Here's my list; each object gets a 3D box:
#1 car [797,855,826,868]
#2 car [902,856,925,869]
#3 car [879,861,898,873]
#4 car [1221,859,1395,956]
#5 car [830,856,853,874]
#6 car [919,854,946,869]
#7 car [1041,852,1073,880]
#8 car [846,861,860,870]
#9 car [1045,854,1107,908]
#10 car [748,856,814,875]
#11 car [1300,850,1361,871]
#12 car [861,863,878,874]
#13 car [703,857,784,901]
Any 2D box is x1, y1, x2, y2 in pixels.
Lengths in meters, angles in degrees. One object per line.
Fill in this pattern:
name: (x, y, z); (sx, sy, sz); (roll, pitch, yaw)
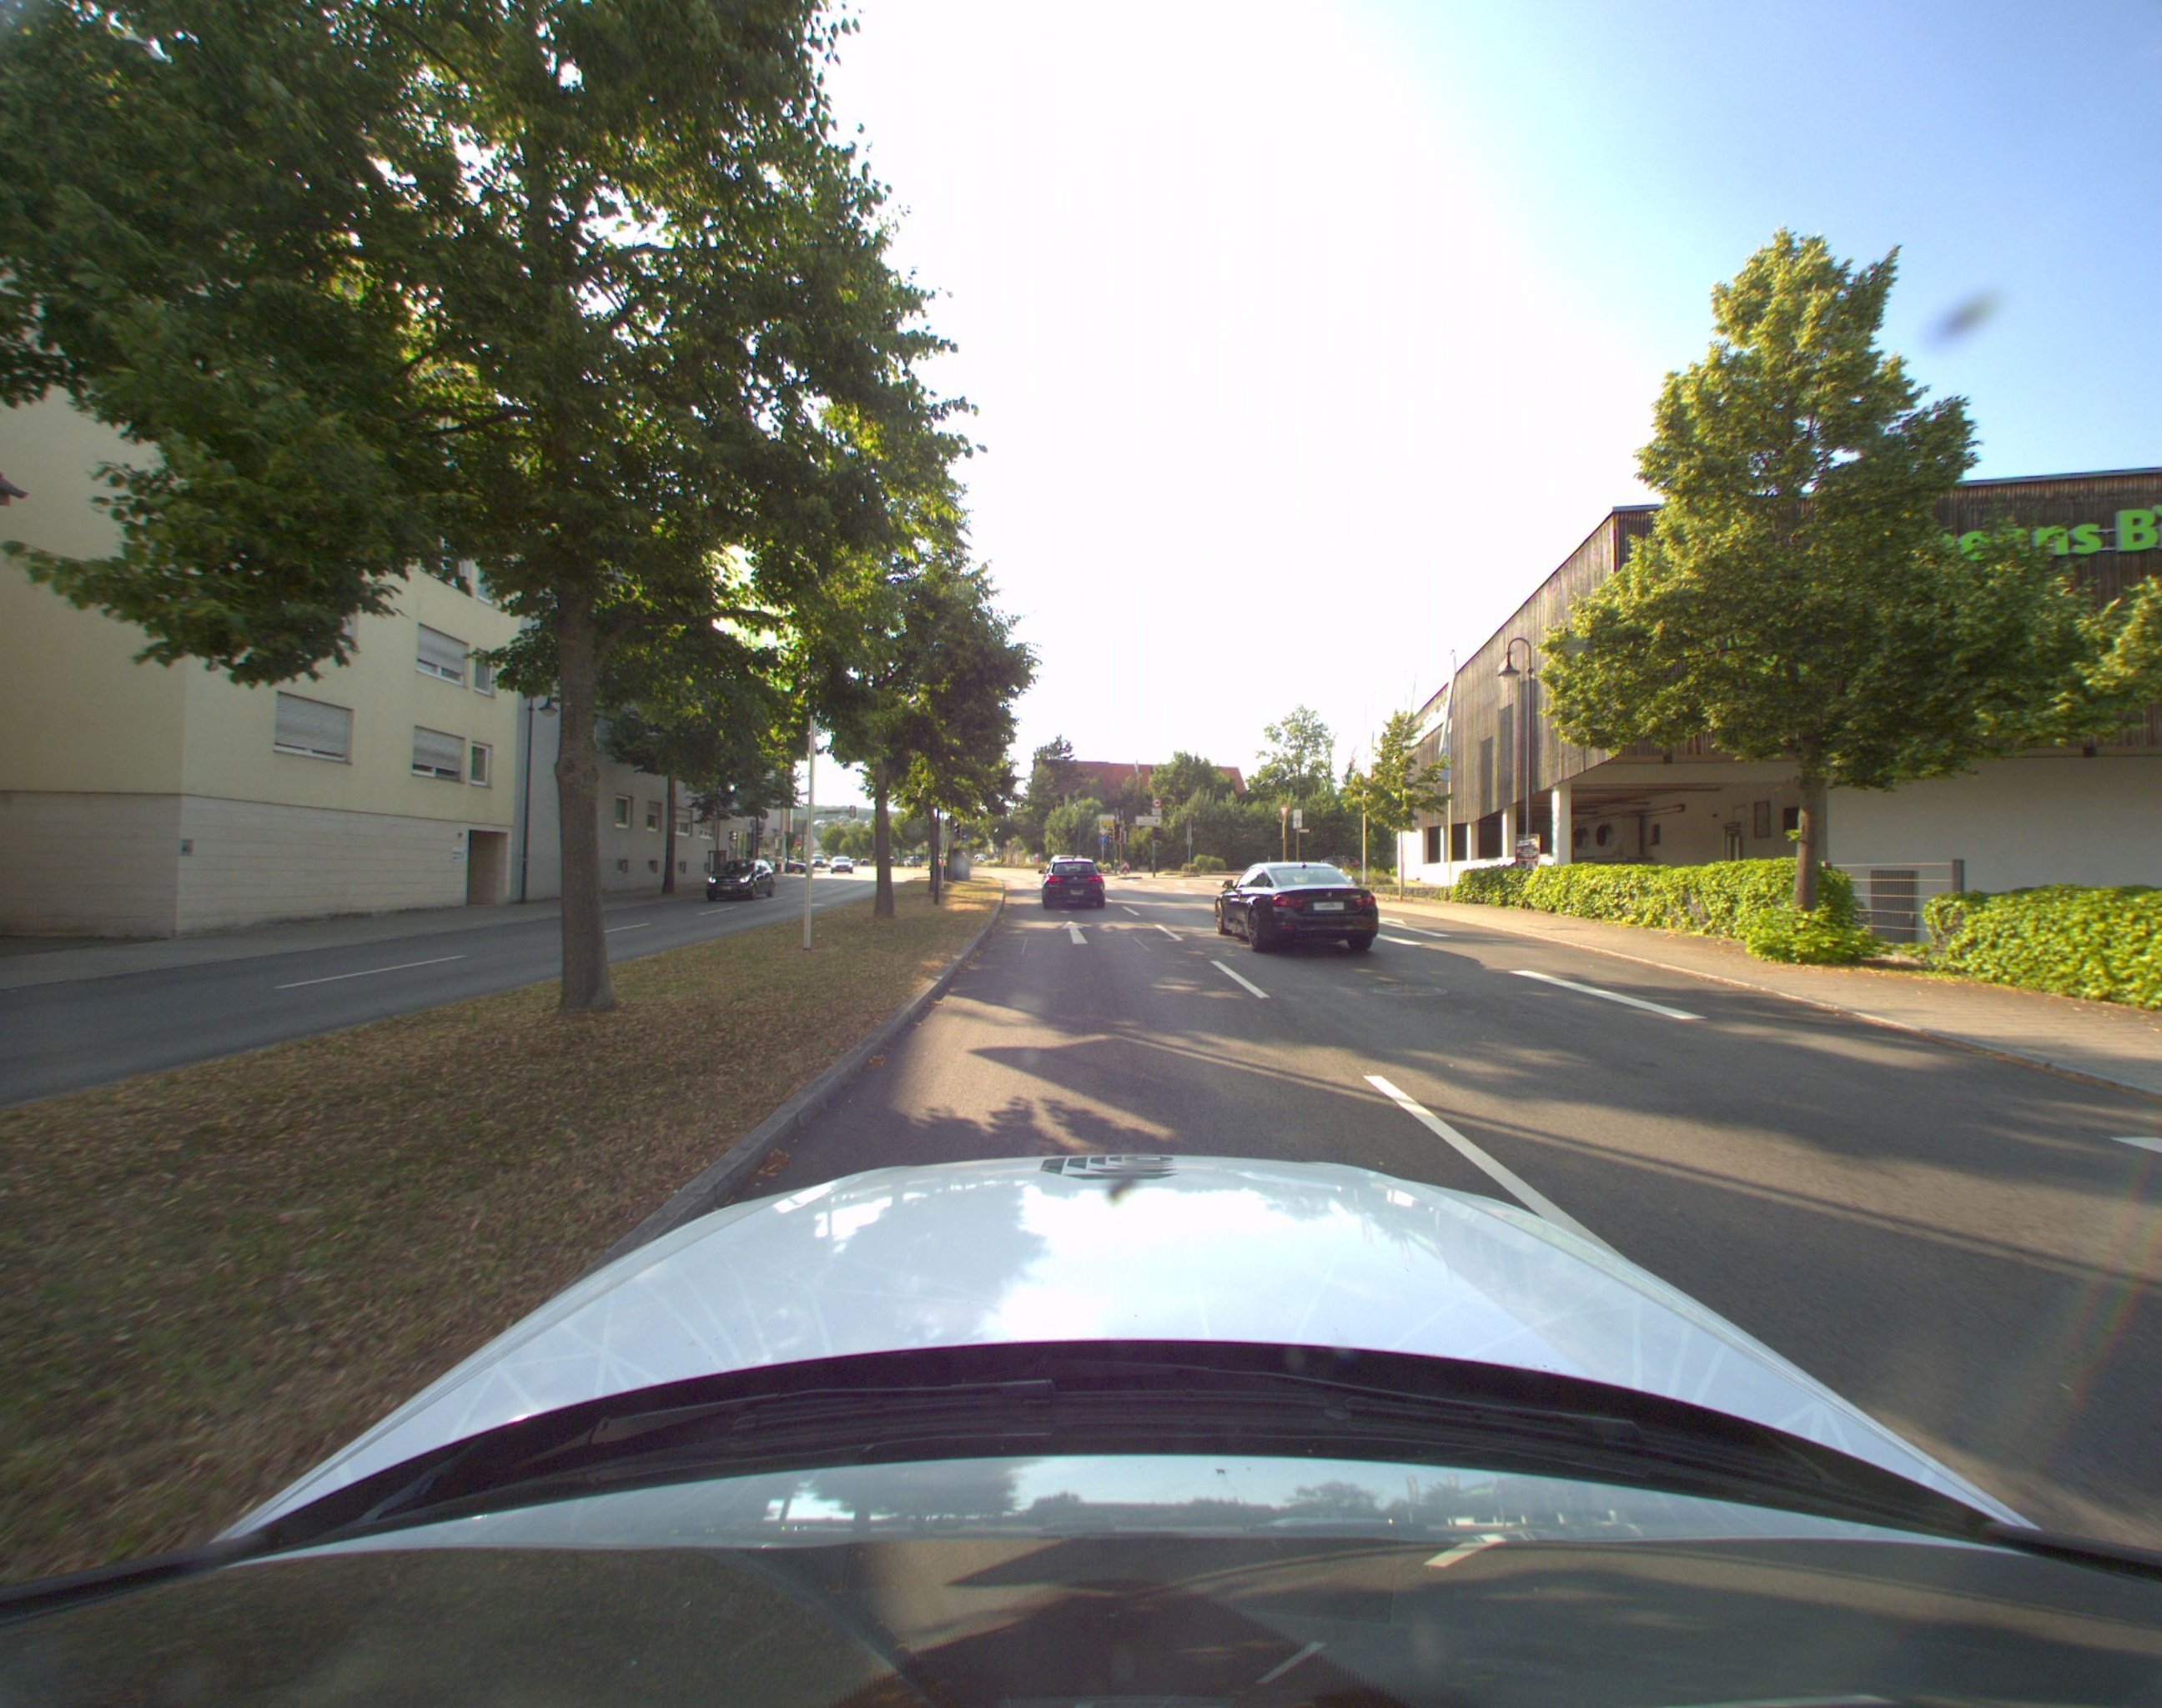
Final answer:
car: (-36.007, 1.023, 108.598); (1.868, 1.736, 4.863); (0, -1, -42)
car: (-22.958, 1.122, 111.416); (2.227, 1.769, 4.419); (0, 0, -24)
car: (-30.350, 2.068, 128.374); (2.227, 1.769, 4.419); (0, 0, -24)
car: (3.621, 0.790, 13.834); (1.913, 1.364, 4.355); (-1, -1, 2)
car: (-21.063, 0.924, 71.564); (1.857, 1.486, 4.966); (-1, 0, -18)
car: (-17.814, 0.863, 97.837); (2.227, 1.769, 4.419); (0, 0, -24)
car: (-1.658, 0.779, 54.749); (1.922, 1.769, 4.446); (0, 0, -5)
car: (-45.869, 2.254, 163.805); (2.227, 1.769, 4.419); (0, 0, -24)
car: (-0.153, 0.763, 24.663); (1.716, 1.490, 4.351); (0, -1, 0)
car: (-24.457, 0.948, 66.594); (4.863, 1.436, 1.909); (-1, -1, -13)
car: (19.141, 0.495, 62.500); (4.217, 1.567, 1.803); (0, 0, 28)
car: (-38.015, 2.584, 146.268); (2.227, 1.859, 4.419); (0, 0, -24)
car: (-12.486, 0.882, 30.338); (1.602, 1.486, 3.779); (-1, 0, -3)
